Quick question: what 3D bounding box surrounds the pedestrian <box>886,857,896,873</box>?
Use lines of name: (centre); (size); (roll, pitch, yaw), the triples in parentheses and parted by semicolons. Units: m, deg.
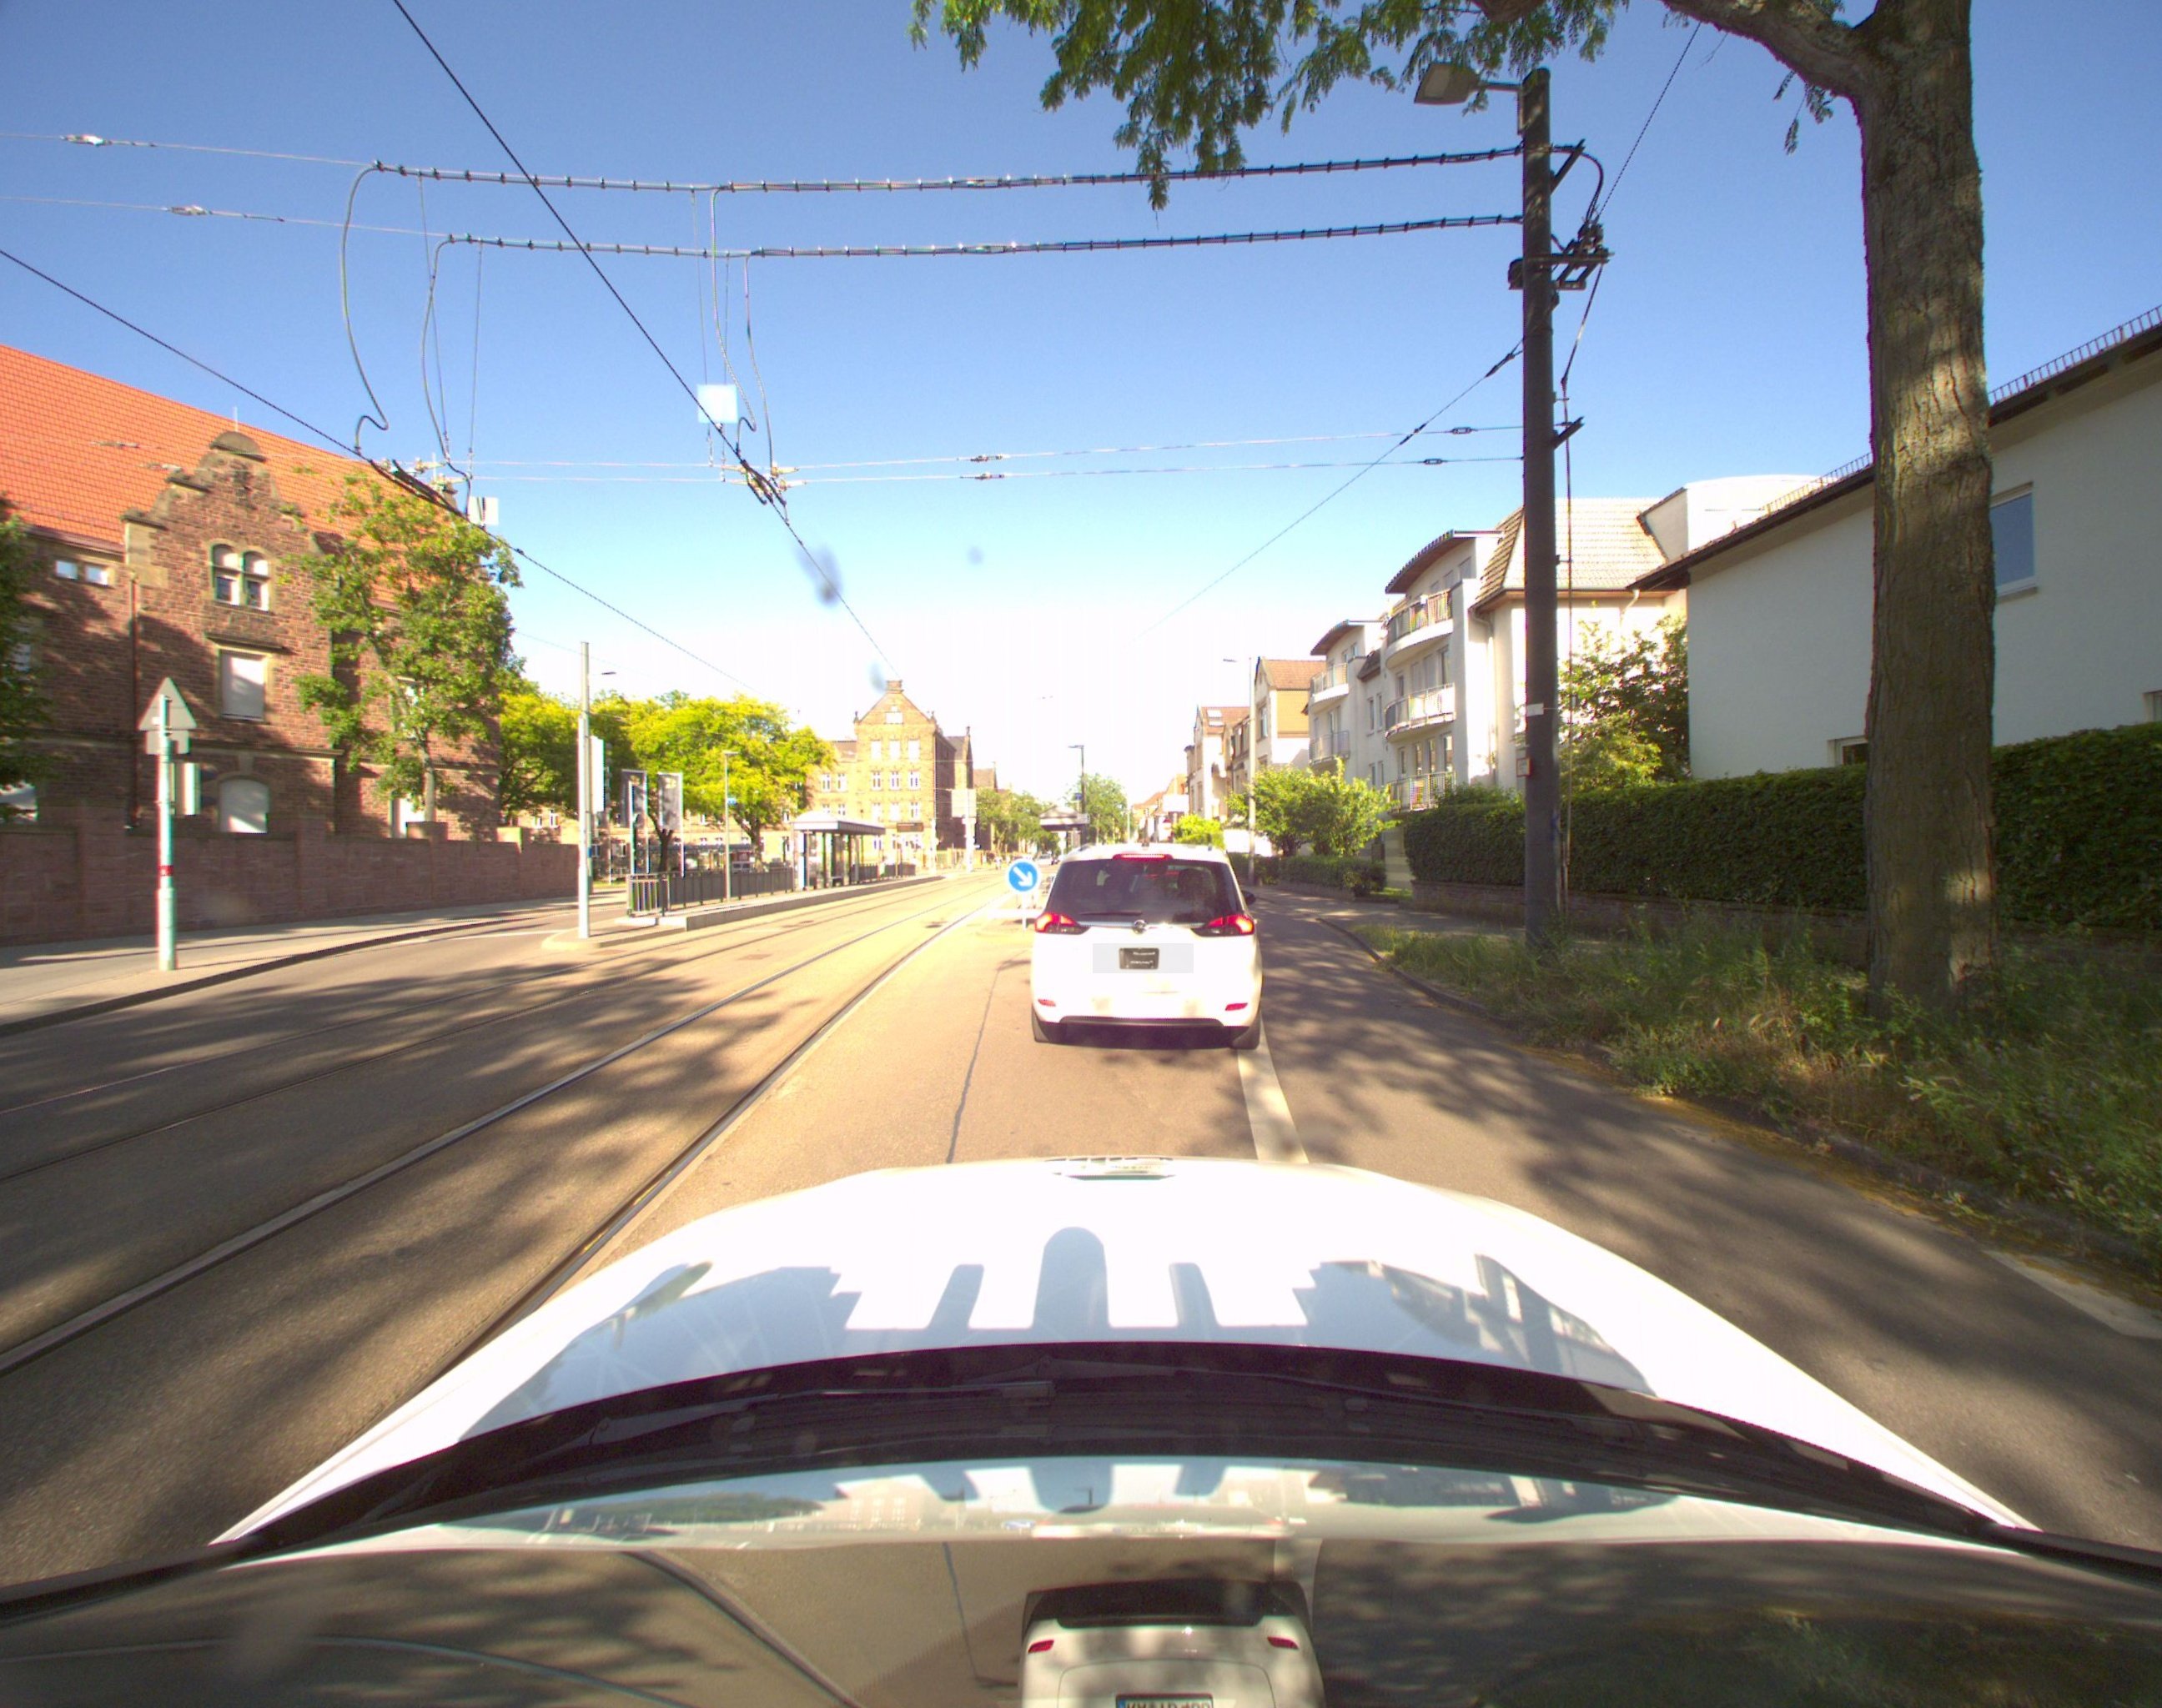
pedestrian: (-19.115, 1.143, 81.918); (0.799, 1.588, 0.934); (0, -1, -1)

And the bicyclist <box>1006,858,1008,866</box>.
bicyclist: (-11.818, 1.242, 130.384); (0.358, 1.303, 0.397); (-1, 0, -2)

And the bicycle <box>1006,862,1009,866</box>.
bicycle: (-11.803, 1.633, 130.339); (0.343, 0.725, 0.996); (0, -1, -1)

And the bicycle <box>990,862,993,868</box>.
bicycle: (-12.671, 1.543, 115.640); (0.343, 0.950, 0.996); (0, -1, -1)

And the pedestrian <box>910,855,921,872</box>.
pedestrian: (-16.408, 0.923, 80.674); (0.892, 1.684, 1.029); (0, -1, 1)

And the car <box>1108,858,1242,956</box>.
car: (1.539, 0.793, 14.069); (1.944, 1.397, 4.005); (-1, 0, 4)

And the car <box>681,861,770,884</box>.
car: (-32.953, 1.709, 75.703); (6.926, 1.921, 2.992); (-1, 0, 0)

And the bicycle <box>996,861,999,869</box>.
bicycle: (-10.996, 1.461, 107.069); (0.343, 0.950, 0.996); (0, -1, -1)

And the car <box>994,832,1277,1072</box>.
car: (0.651, 0.685, 7.707); (1.982, 1.644, 4.003); (0, 0, 8)

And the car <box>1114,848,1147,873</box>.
car: (3.109, 0.392, 51.847); (1.986, 1.503, 4.002); (-1, 0, 2)

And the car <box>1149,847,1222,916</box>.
car: (2.581, 0.641, 20.898); (1.630, 1.601, 3.859); (-1, 0, 4)

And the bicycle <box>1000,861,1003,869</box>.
bicycle: (-10.654, 1.479, 109.612); (0.343, 0.950, 0.996); (0, -1, -1)

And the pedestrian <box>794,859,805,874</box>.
pedestrian: (-30.805, 1.360, 89.228); (0.931, 1.588, 0.803); (-1, 0, -7)

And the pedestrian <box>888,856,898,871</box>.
pedestrian: (-19.828, 1.038, 85.911); (0.799, 1.588, 0.934); (0, -1, -1)

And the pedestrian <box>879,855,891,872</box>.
pedestrian: (-19.171, 0.941, 79.570); (0.839, 1.691, 1.029); (0, -1, 1)

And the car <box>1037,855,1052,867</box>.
car: (-4.808, 0.908, 107.625); (1.989, 1.629, 3.996); (-1, 0, -3)

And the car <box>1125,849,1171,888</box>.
car: (2.938, 0.616, 36.254); (1.824, 1.579, 4.012); (-1, 0, 2)

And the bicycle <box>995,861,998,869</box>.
bicycle: (-10.708, 1.430, 103.527); (0.343, 0.950, 1.160); (0, -1, -1)

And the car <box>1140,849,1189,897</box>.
car: (2.951, 0.639, 29.324); (1.630, 1.601, 3.859); (-1, 0, 4)

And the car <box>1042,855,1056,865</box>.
car: (-5.124, 0.928, 130.995); (1.987, 1.629, 4.000); (-1, 0, 0)

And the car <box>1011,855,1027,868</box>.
car: (-8.185, 0.940, 107.484); (1.989, 1.629, 3.996); (-1, 0, -3)

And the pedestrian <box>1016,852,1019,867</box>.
pedestrian: (-8.762, 0.791, 112.371); (0.443, 2.013, 0.495); (-1, 0, -2)

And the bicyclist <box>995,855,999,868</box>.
bicyclist: (-10.700, 0.963, 103.737); (0.443, 1.553, 0.742); (-1, 0, -2)

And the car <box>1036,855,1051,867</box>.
car: (-5.289, 0.970, 114.748); (1.989, 1.629, 3.996); (-1, 0, -3)

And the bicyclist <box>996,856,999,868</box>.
bicyclist: (-10.972, 0.993, 107.028); (0.443, 1.553, 0.495); (-1, 0, -2)

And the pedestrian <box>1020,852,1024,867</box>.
pedestrian: (-8.148, 0.789, 112.653); (0.443, 2.013, 0.495); (-1, 0, -2)

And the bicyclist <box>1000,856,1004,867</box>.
bicyclist: (-10.655, 1.012, 109.607); (0.443, 1.553, 0.495); (-1, 0, -2)

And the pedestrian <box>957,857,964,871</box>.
pedestrian: (-14.764, 1.238, 100.115); (0.732, 1.714, 0.707); (0, -1, 1)
